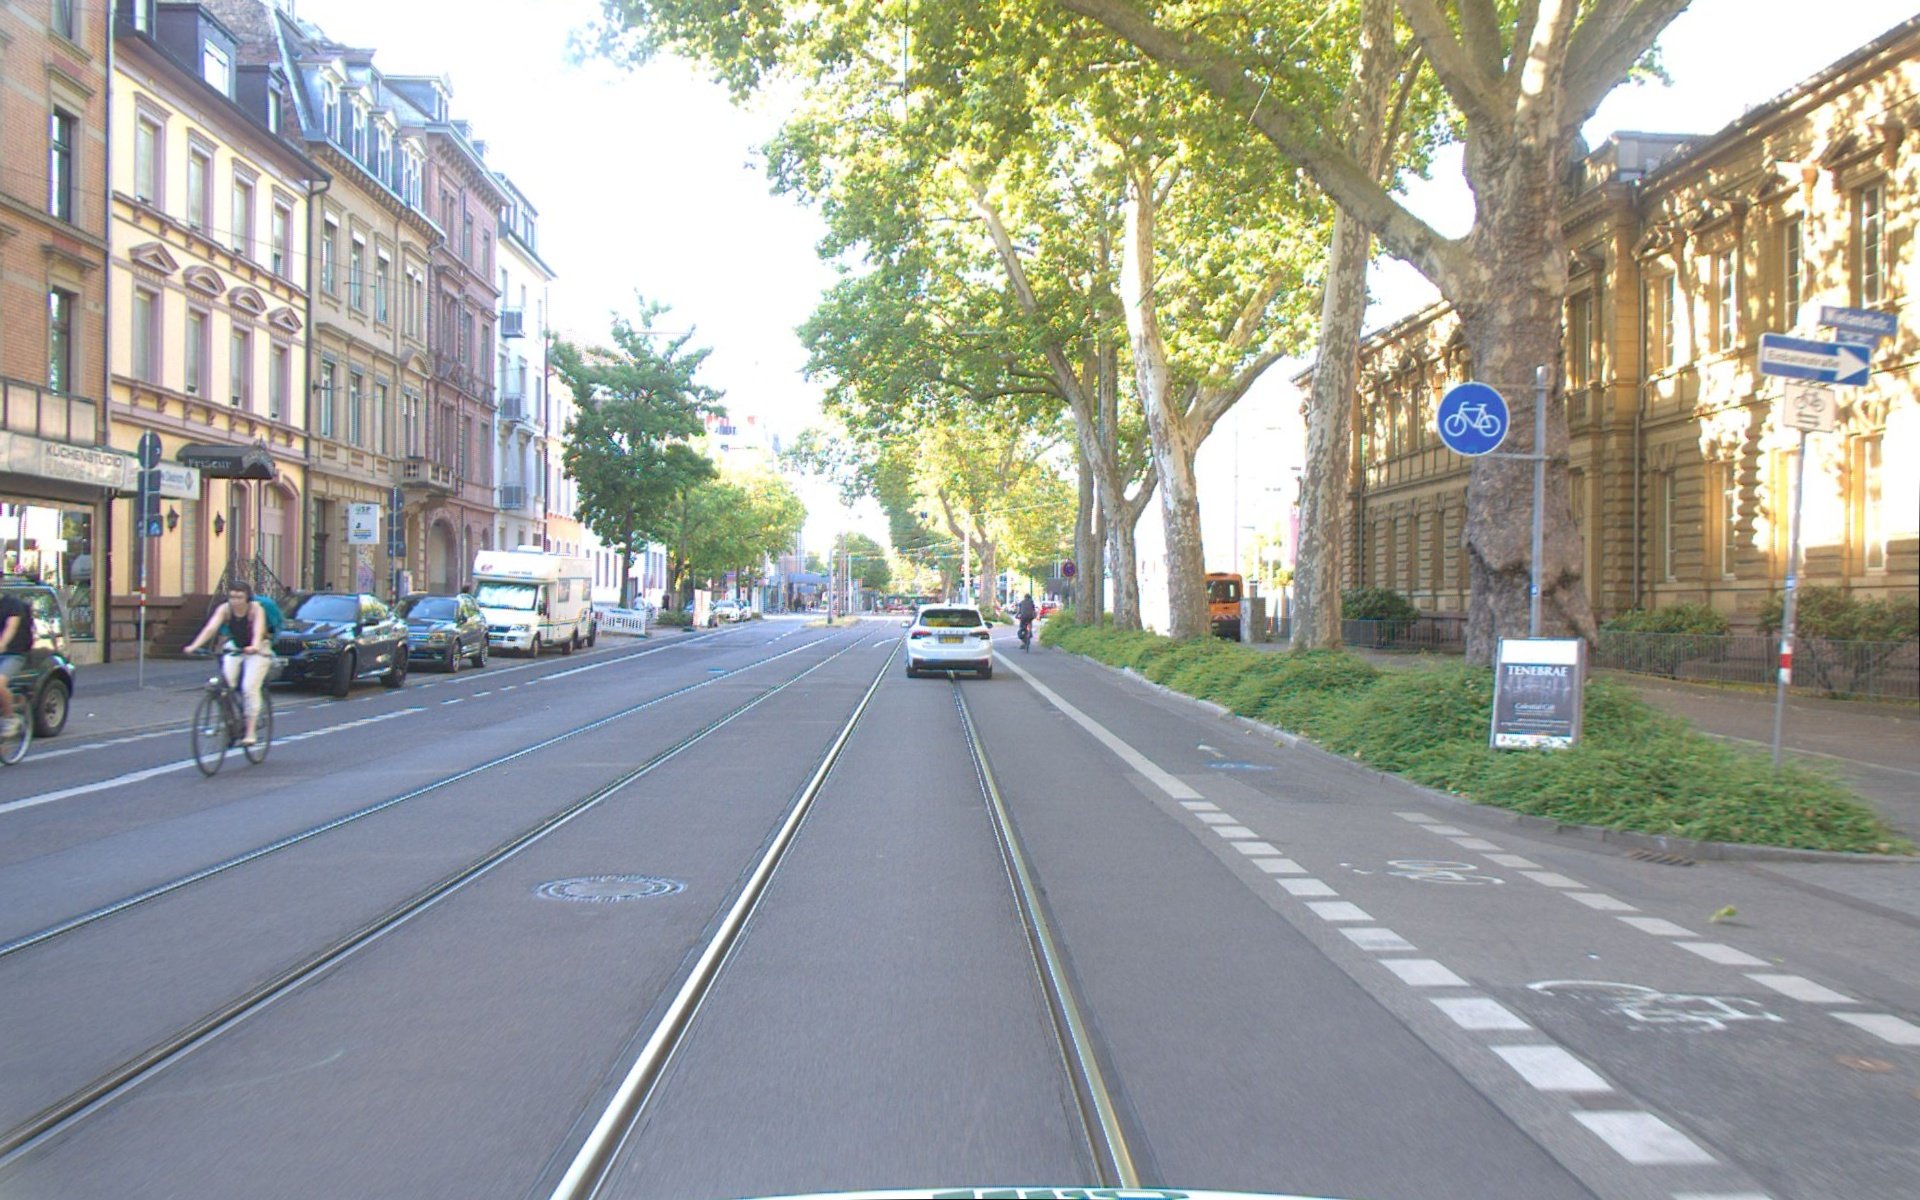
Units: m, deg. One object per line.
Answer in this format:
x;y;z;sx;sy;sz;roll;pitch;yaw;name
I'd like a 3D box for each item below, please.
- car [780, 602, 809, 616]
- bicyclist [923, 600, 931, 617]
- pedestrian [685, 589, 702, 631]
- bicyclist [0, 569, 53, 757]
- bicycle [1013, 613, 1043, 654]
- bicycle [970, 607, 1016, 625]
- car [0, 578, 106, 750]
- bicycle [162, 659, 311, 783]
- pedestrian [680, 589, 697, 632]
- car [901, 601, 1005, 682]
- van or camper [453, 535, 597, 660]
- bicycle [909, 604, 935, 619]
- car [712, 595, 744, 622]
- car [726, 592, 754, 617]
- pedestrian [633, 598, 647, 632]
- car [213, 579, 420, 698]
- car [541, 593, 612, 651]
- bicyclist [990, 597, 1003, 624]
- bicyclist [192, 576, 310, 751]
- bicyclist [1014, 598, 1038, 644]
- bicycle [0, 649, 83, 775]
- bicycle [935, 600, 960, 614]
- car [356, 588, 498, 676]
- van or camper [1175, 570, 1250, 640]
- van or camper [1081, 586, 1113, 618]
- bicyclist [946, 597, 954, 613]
-23.094;1.278;230.511;3.714;1.850;1.804;2;0;4;car
-3.198;0.815;159.895;0.626;1.549;0.602;0;1;-37;bicyclist
-12.887;0.484;80.059;0.633;2.037;0.750;1;0;2;pedestrian
-8.768;0.563;15.025;0.524;1.663;0.896;-2;0;-1;bicyclist
2.062;0.998;50.270;0.666;1.175;2.963;2;0;-2;bicycle
2.022;0.986;100.853;2.711;1.017;0.593;2;-1;12;bicycle
-10.632;0.638;17.375;1.525;1.762;3.683;2;0;-3;car
-6.465;1.055;14.874;0.488;0.959;1.921;-1;0;0;bicycle
-12.991;0.485;79.088;0.588;2.037;0.750;1;0;2;pedestrian
-0.204;0.797;33.422;1.806;1.506;3.835;1;0;-4;car
-12.121;-0.057;46.674;2.171;3.195;7.112;1;0;-1;van or camper
-3.662;1.106;159.546;2.660;1.351;0.607;0;0;-37;bicycle
-15.444;0.569;110.095;1.758;1.756;3.781;1;0;-4;car
-15.945;0.303;120.062;1.758;1.756;3.781;1;0;-4;car
-16.845;0.795;87.072;0.589;1.804;0.700;2;-1;-6;pedestrian
-11.175;0.621;29.132;1.925;1.812;4.934;3;0;-4;car
-12.435;0.693;53.839;1.608;1.756;3.781;1;0;-4;car
2.235;0.646;100.822;0.721;1.617;0.587;0;0;10;bicyclist
-6.456;0.564;15.103;0.625;1.529;1.069;-1;0;-1;bicyclist
2.013;0.640;50.418;0.665;1.362;0.525;2;-1;-2;bicyclist
-8.708;1.012;14.949;0.475;1.066;2.039;-1;0;0;bicycle
-1.221;0.701;161.320;2.660;1.351;0.607;0;0;-37;bicycle
-11.797;0.675;36.903;1.925;1.813;4.467;1;0;-4;car
9.472;0.198;62.516;1.986;2.507;5.107;2;0;0;van or camper
10.599;0.140;128.206;1.953;2.384;3.999;2;0;-2;van or camper
-0.981;0.462;161.489;0.626;1.549;0.602;0;1;-37;bicyclist
